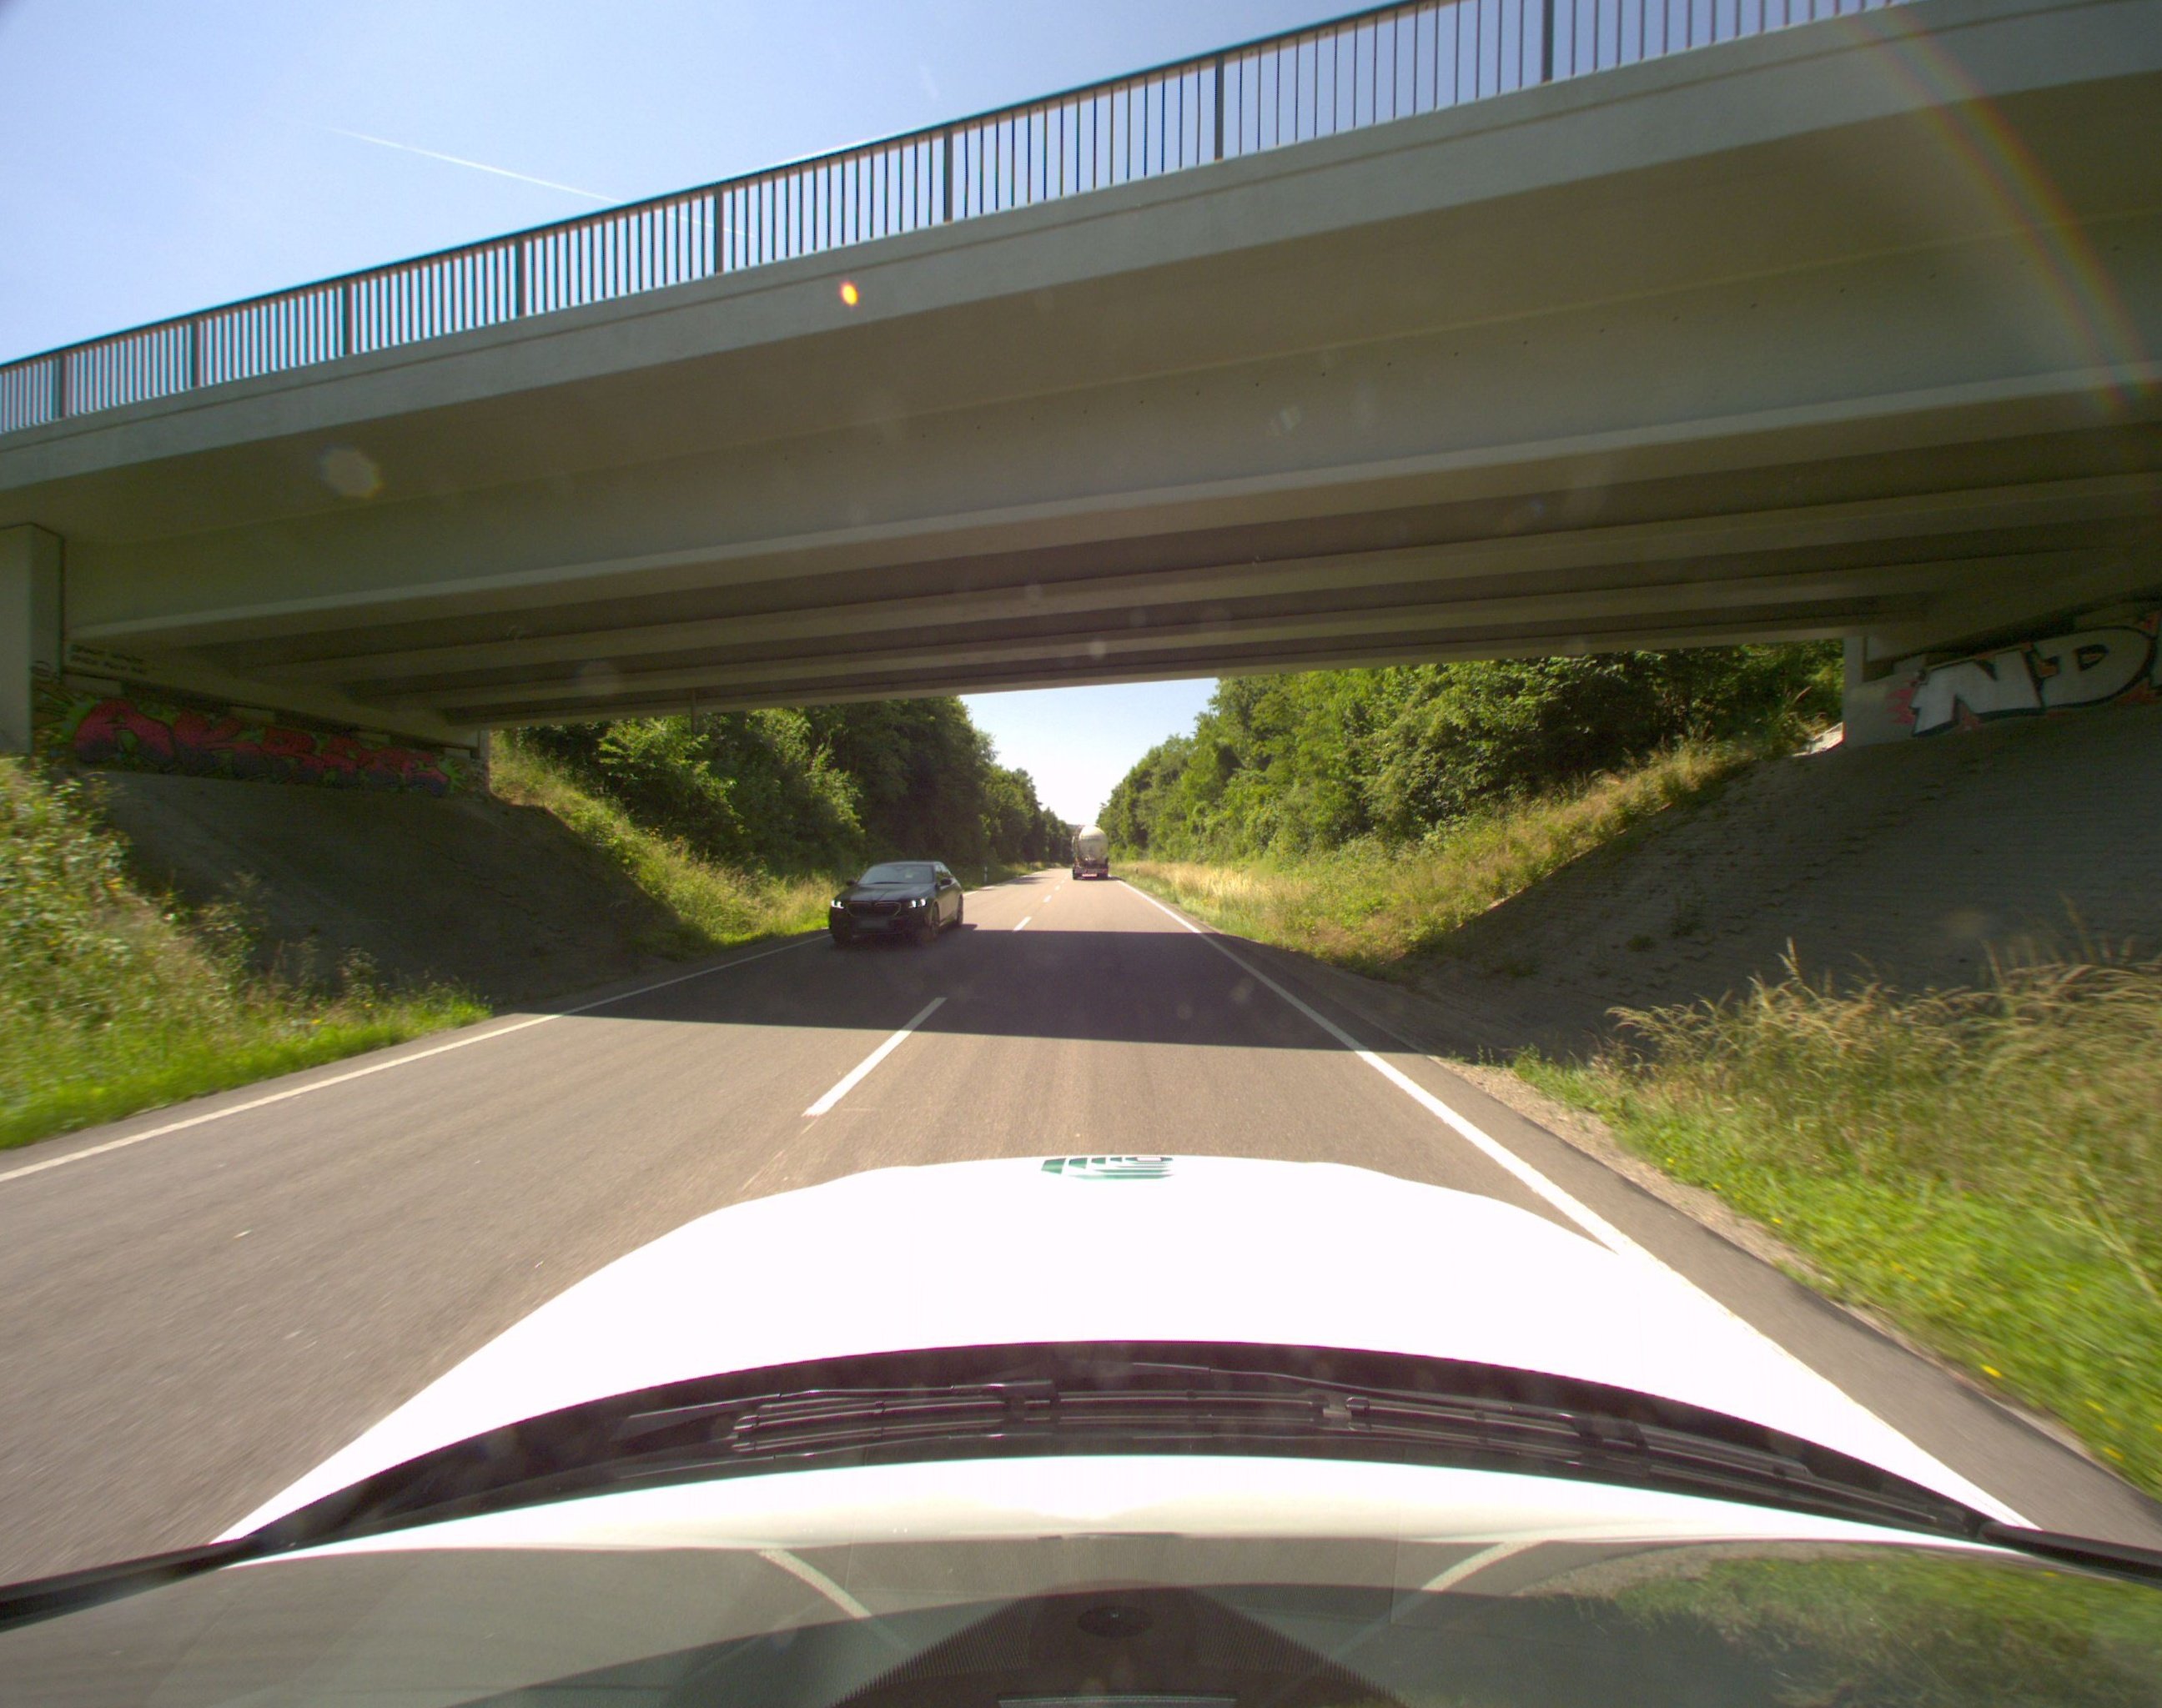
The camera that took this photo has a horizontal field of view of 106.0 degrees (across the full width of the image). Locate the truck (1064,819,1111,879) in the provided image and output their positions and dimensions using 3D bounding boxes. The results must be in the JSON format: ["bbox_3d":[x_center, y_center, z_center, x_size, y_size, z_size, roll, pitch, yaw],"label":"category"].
[{"bbox_3d":[0.414,-0.187,63.175,3.040,3.998,15.630,2,-1,0],"label":"truck"}]

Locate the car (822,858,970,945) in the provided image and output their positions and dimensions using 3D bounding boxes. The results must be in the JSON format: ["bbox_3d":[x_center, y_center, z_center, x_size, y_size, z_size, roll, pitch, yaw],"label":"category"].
[{"bbox_3d":[-3.565,0.842,16.616,1.852,1.505,4.588,-1,0,1],"label":"car"}]
